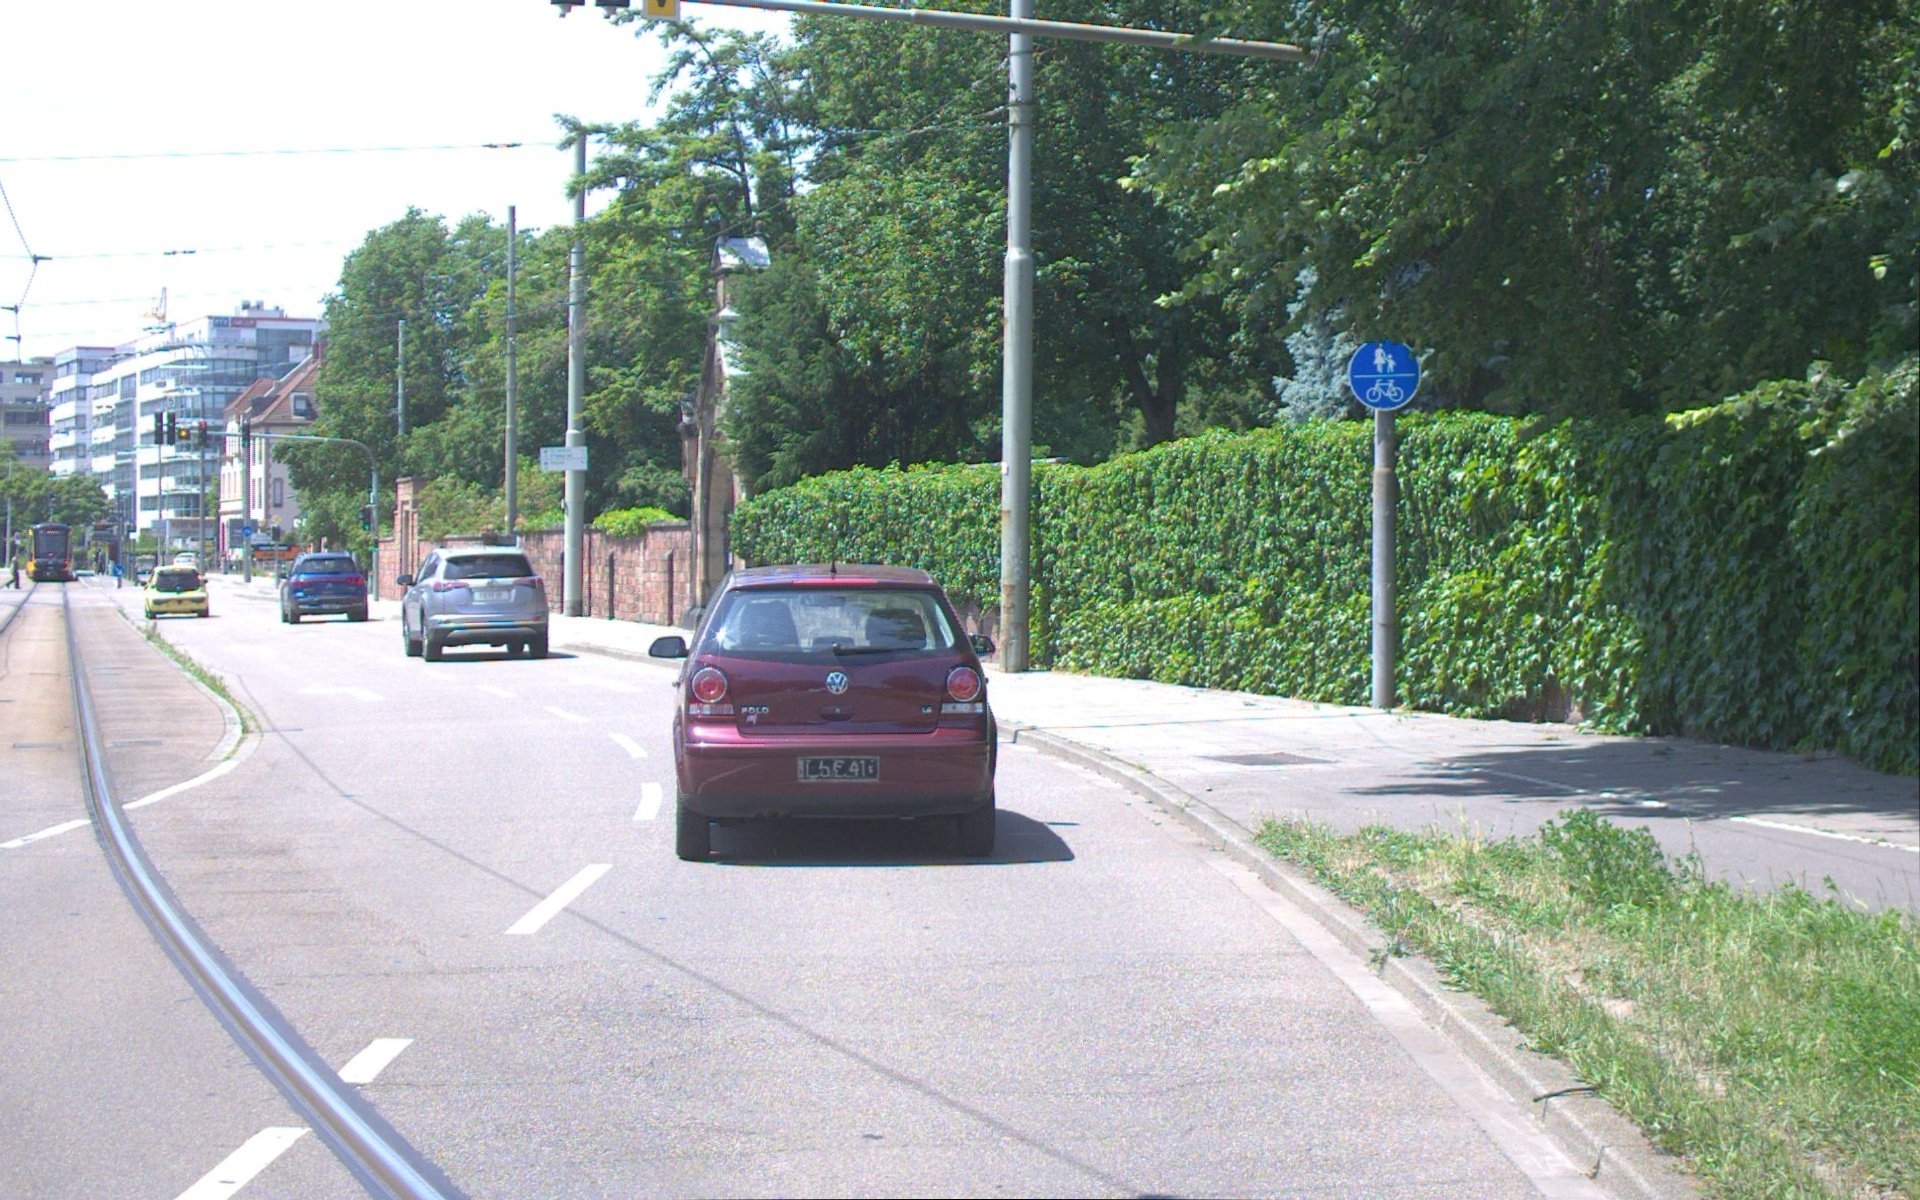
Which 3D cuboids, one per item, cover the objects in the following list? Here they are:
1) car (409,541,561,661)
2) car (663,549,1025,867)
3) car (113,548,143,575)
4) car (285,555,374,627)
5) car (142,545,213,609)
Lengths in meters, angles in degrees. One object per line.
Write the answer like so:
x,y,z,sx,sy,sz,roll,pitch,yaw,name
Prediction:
-7.139,-0.018,51.389,1.794,1.677,4.001,1,1,-14,car
-0.724,0.486,18.550,1.609,1.493,4.001,-1,1,-7,car
-40.041,-1.838,165.526,1.353,1.248,2.973,1,1,-14,car
-15.051,-0.231,81.943,1.773,1.625,4.001,1,1,-14,car
-21.721,-0.644,95.302,1.794,1.677,4.001,1,1,-14,car
